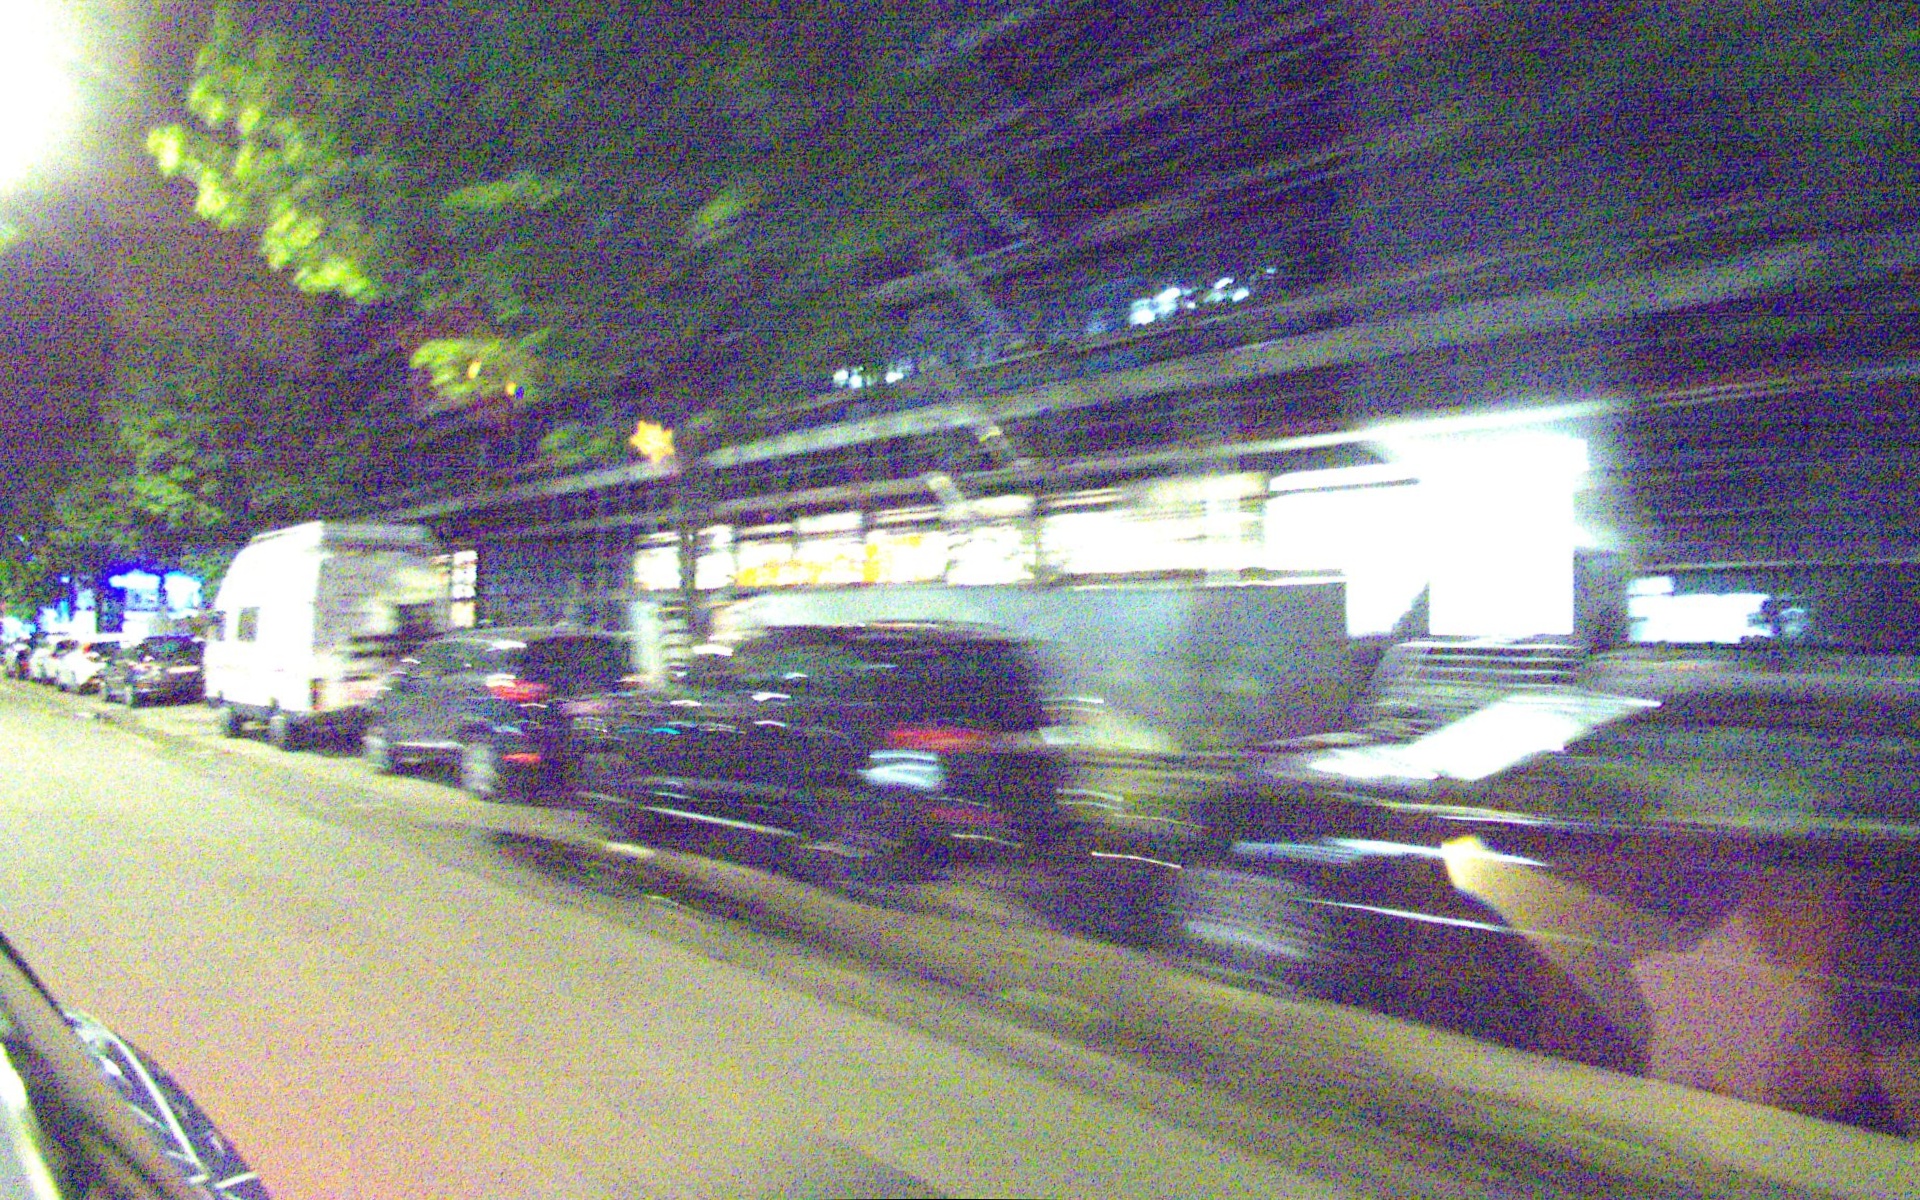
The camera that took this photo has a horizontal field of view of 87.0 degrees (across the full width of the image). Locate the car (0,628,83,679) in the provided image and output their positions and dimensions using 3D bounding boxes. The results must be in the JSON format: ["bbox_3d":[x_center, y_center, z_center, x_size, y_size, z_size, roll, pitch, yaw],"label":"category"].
[{"bbox_3d":[-30.101,1.719,33.067,3.901,1.516,1.626,-2,0,40],"label":"car"}]

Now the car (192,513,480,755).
[{"bbox_3d":[-9.159,0.454,14.671,4.906,2.931,2.157,-2,-1,40],"label":"car"}]

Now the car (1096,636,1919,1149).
[{"bbox_3d":[2.972,0.912,4.016,4.630,1.422,1.687,-2,1,41],"label":"car"}]

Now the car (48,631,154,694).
[{"bbox_3d":[-21.954,1.541,25.838,3.366,1.466,1.532,-2,-1,40],"label":"car"}]

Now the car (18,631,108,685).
[{"bbox_3d":[-26.512,1.667,29.880,3.901,1.440,1.430,-2,0,40],"label":"car"}]

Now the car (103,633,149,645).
[{"bbox_3d":[-103.855,4.878,126.088,1.716,1.489,4.256,-1,-2,13],"label":"car"}]

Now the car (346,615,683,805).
[{"bbox_3d":[-4.865,1.006,10.776,4.114,1.619,1.723,-2,-1,41],"label":"car"}]

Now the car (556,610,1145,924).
[{"bbox_3d":[-0.996,0.911,7.314,4.294,1.619,1.725,-1,-1,39],"label":"car"}]

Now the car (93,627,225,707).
[{"bbox_3d":[-17.421,1.377,21.946,3.860,1.516,1.628,-1,0,42],"label":"car"}]

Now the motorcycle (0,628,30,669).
[{"bbox_3d":[-37.332,1.877,39.158,0.635,1.561,1.894,-1,0,21],"label":"motorcycle"}]
